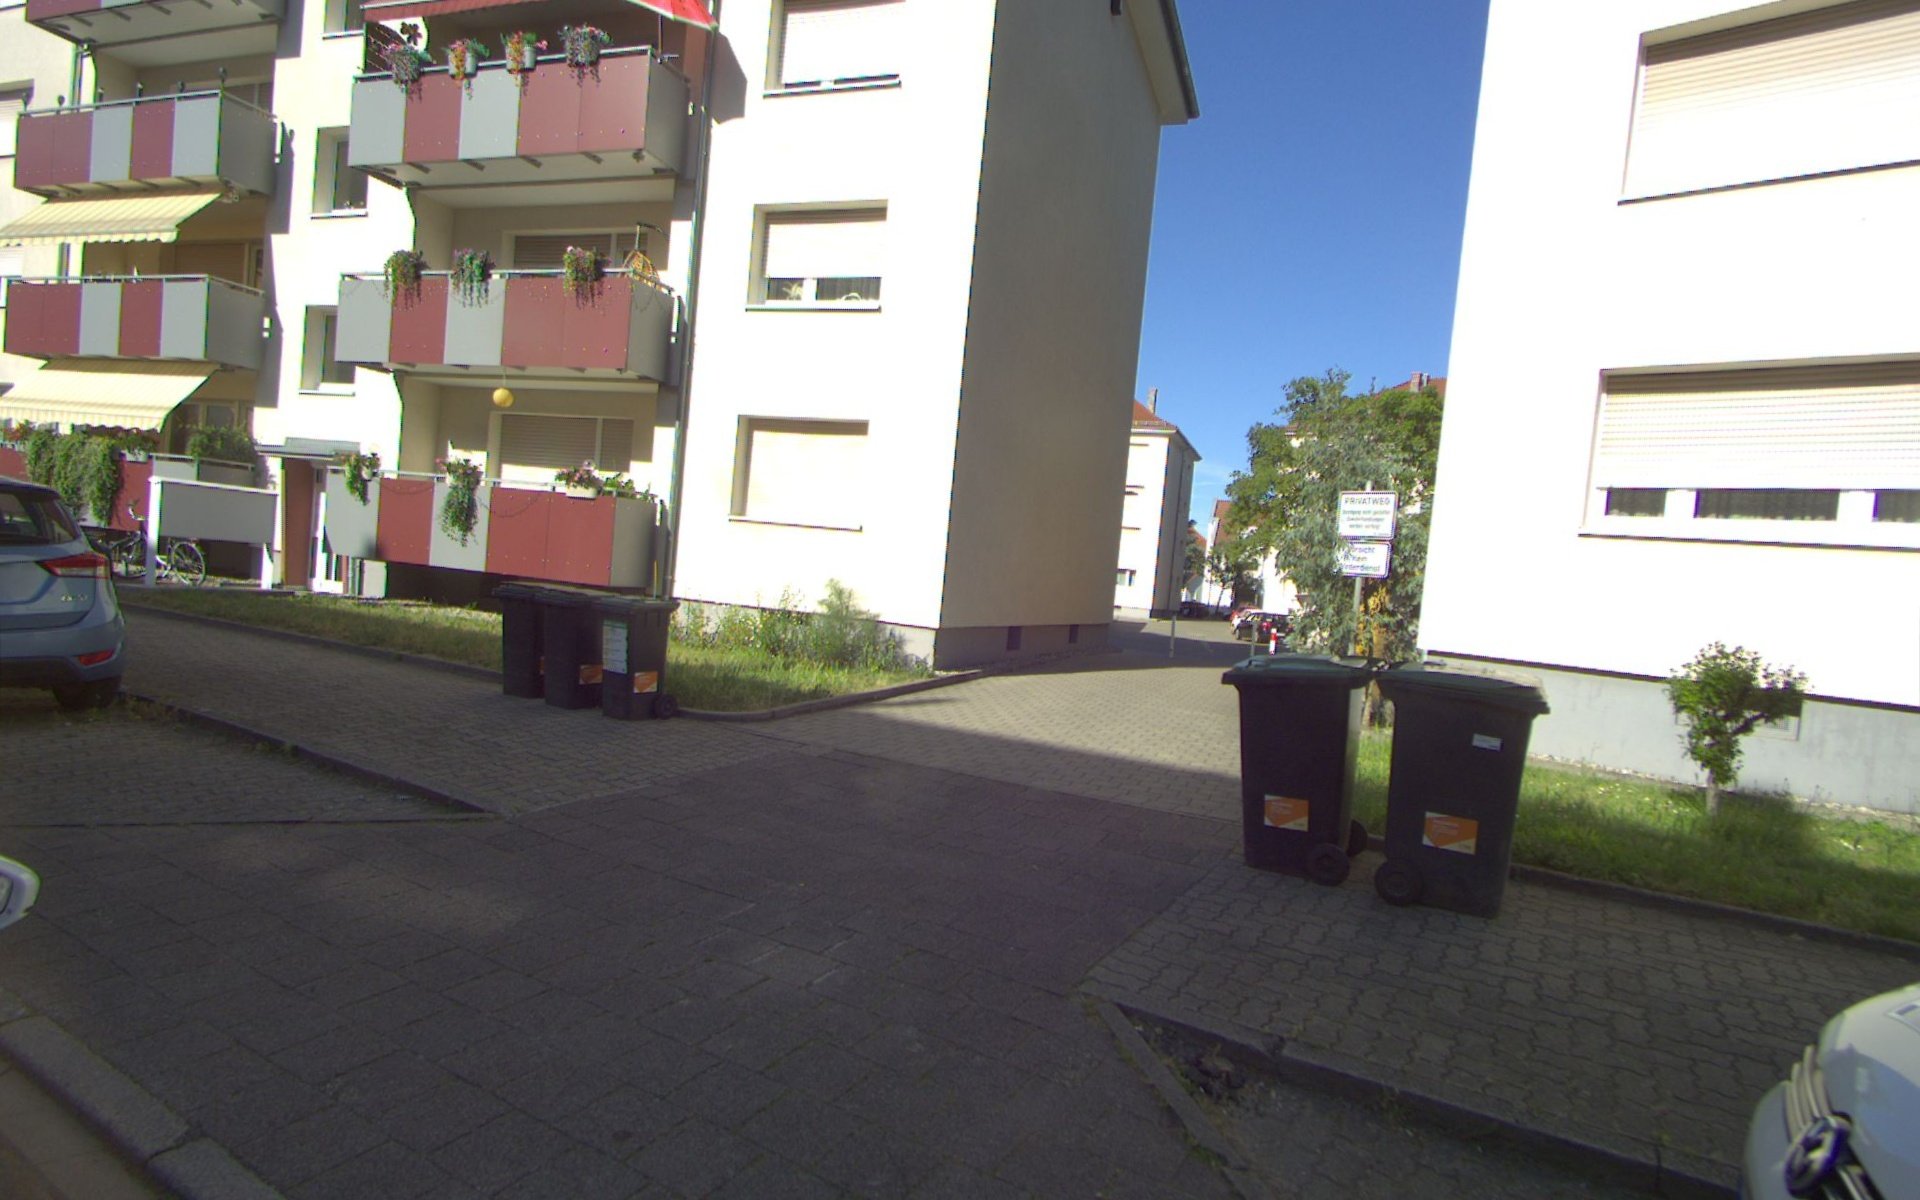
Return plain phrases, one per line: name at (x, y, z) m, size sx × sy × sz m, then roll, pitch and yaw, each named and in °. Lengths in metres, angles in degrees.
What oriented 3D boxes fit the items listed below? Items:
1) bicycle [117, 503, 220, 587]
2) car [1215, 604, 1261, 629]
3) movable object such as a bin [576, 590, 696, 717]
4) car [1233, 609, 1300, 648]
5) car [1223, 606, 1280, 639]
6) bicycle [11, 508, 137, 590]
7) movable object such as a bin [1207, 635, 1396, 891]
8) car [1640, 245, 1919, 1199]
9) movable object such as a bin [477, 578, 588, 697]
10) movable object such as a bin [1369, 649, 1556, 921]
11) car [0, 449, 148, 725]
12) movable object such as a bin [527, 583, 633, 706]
bicycle at (-12.045, -0.836, 15.294) m, size 1.730 × 1.166 × 0.408 m, roll 5°, pitch 3°, yaw 22°
car at (18.938, 1.108, 68.318) m, size 1.966 × 1.469 × 4.463 m, roll 5°, pitch 3°, yaw 28°
movable object such as a bin at (-2.515, 0.392, 7.837) m, size 0.629 × 0.900 × 0.584 m, roll 5°, pitch 3°, yaw 25°
car at (14.665, 1.325, 48.366) m, size 1.962 × 1.469 × 4.471 m, roll 4°, pitch 2°, yaw 2°
car at (16.240, 1.203, 56.202) m, size 1.962 × 1.469 × 4.471 m, roll 4°, pitch 2°, yaw 2°
bicycle at (-12.760, -0.739, 14.480) m, size 1.861 × 0.992 × 0.618 m, roll 7°, pitch 5°, yaw 23°
movable object such as a bin at (1.709, 0.765, 5.037) m, size 0.672 × 1.110 × 0.582 m, roll 6°, pitch 4°, yaw 36°
car at (3.117, 0.666, 0.553) m, size 4.317 × 1.678 × 1.693 m, roll 6°, pitch 3°, yaw 32°
movable object such as a bin at (-3.536, 0.294, 8.338) m, size 0.575 × 0.912 × 0.584 m, roll 5°, pitch 3°, yaw 25°
movable object such as a bin at (2.306, 0.798, 4.618) m, size 0.631 × 1.071 × 0.582 m, roll 4°, pitch 4°, yaw 36°
car at (-7.579, -0.246, 6.759) m, size 3.969 × 1.658 × 1.767 m, roll 6°, pitch 3°, yaw 25°
movable object such as a bin at (-3.045, 0.341, 8.078) m, size 0.509 × 0.912 × 0.584 m, roll 5°, pitch 3°, yaw 25°
